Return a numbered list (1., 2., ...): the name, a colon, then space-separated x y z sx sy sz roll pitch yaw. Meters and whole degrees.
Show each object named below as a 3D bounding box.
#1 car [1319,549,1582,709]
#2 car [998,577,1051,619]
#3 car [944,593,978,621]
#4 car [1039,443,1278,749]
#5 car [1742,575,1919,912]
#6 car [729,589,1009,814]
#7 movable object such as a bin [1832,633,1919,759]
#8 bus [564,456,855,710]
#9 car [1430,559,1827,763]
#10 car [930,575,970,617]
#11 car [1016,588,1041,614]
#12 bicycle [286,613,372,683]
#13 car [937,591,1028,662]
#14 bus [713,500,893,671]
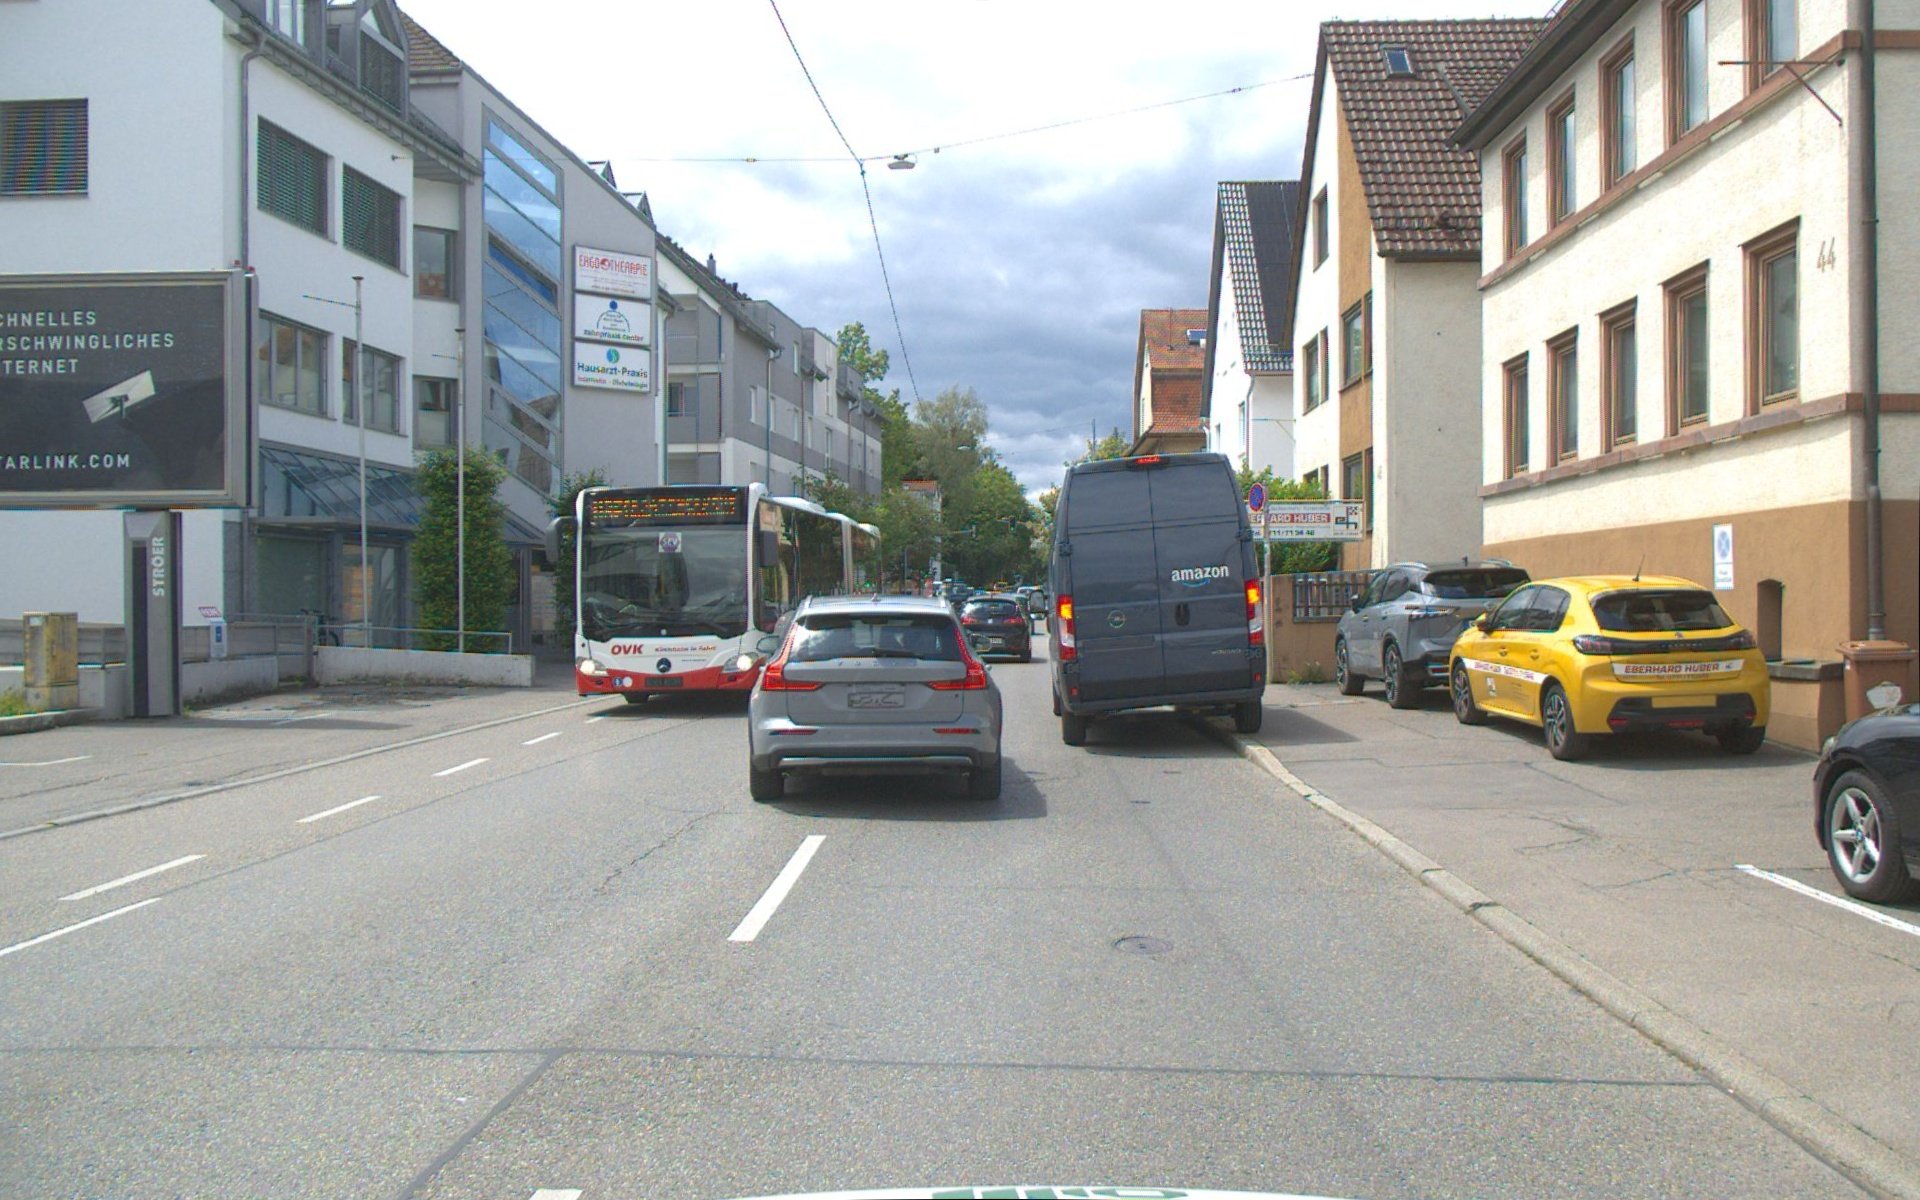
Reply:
1. car: 5.701 0.287 19.846 1.822 1.640 4.586 -2 0 1
2. car: 2.411 -0.088 60.926 1.857 1.472 3.970 0 0 3
3. car: 0.076 0.430 104.223 2.062 1.739 4.766 -1 0 1
4. car: 2.039 -0.048 18.272 2.205 2.844 5.572 -1 0 4
5. car: 5.158 0.616 6.555 1.928 1.473 4.535 -1 0 -1
6. car: -0.594 0.668 13.043 1.857 1.479 3.969 0 0 0
7. movable object such as a bin: 7.246 0.743 12.995 0.490 0.941 0.598 -1 0 5
8. bus: -3.547 -0.238 26.338 2.626 3.219 10.188 -1 0 2
9. car: 5.830 0.426 15.053 1.839 1.472 4.308 -1 3 -1
10. car: -0.521 -0.226 92.027 2.062 2.158 4.766 -2 0 1
11. car: 5.508 0.060 133.315 1.952 2.049 4.002 0 0 3
12. bicycle: -10.819 0.802 28.432 0.617 1.114 2.003 -1 0 3
13. car: 0.547 0.552 37.008 1.857 1.472 3.970 1 0 3
14. bus: -3.144 -0.292 35.410 2.659 3.219 8.071 -1 0 3
